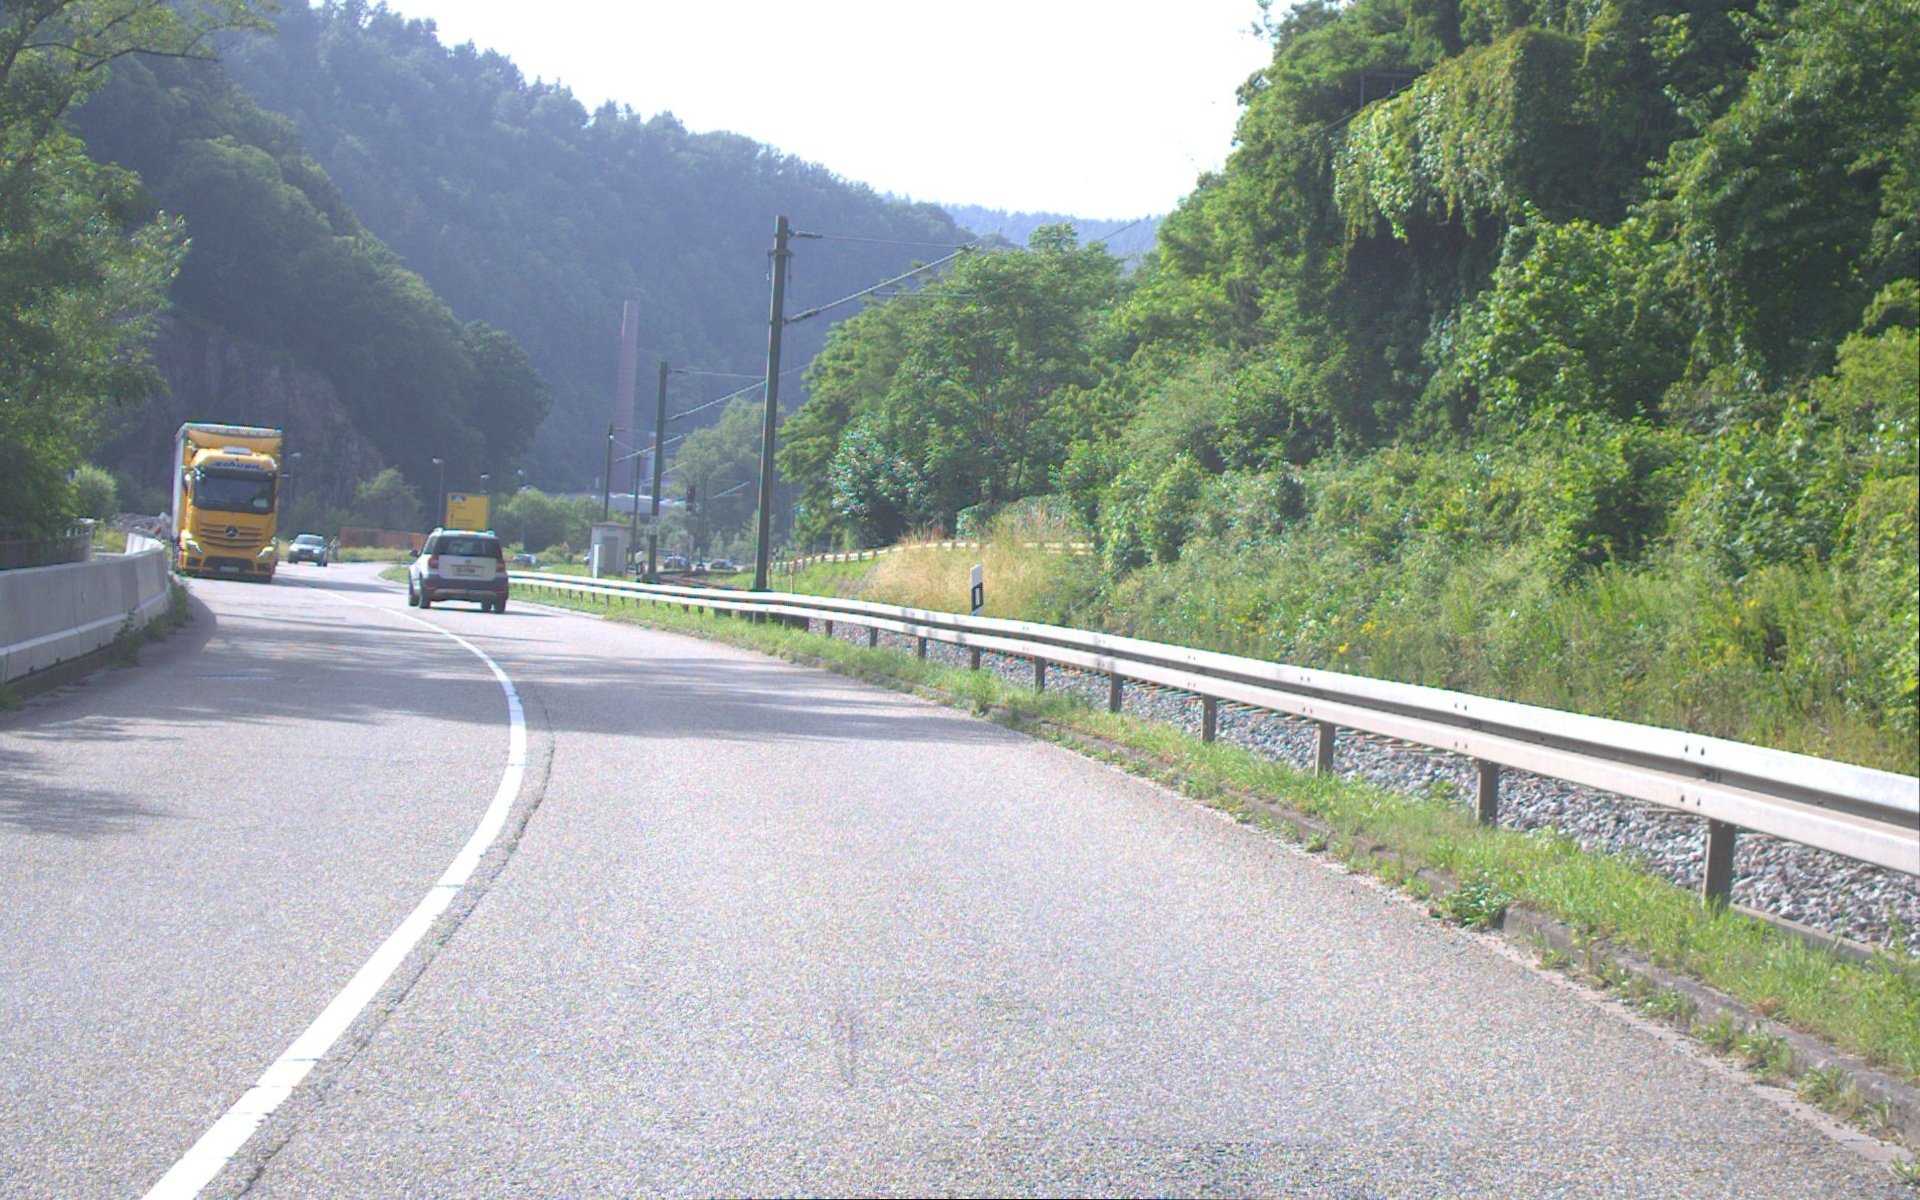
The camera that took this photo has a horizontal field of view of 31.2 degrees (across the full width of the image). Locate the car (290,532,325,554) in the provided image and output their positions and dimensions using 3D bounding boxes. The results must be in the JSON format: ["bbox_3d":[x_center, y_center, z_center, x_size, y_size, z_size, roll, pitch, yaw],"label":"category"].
[{"bbox_3d":[-36.381,-3.177,191.737,1.472,1.081,3.274,5,1,-5],"label":"car"}]

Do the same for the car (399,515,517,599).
[{"bbox_3d":[-10.487,-0.900,71.608,1.872,1.650,4.001,1,1,-16],"label":"car"}]

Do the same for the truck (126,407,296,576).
[{"bbox_3d":[-21.070,-2.922,96.083,3.368,4.368,12.713,0,1,-18],"label":"truck"}]
